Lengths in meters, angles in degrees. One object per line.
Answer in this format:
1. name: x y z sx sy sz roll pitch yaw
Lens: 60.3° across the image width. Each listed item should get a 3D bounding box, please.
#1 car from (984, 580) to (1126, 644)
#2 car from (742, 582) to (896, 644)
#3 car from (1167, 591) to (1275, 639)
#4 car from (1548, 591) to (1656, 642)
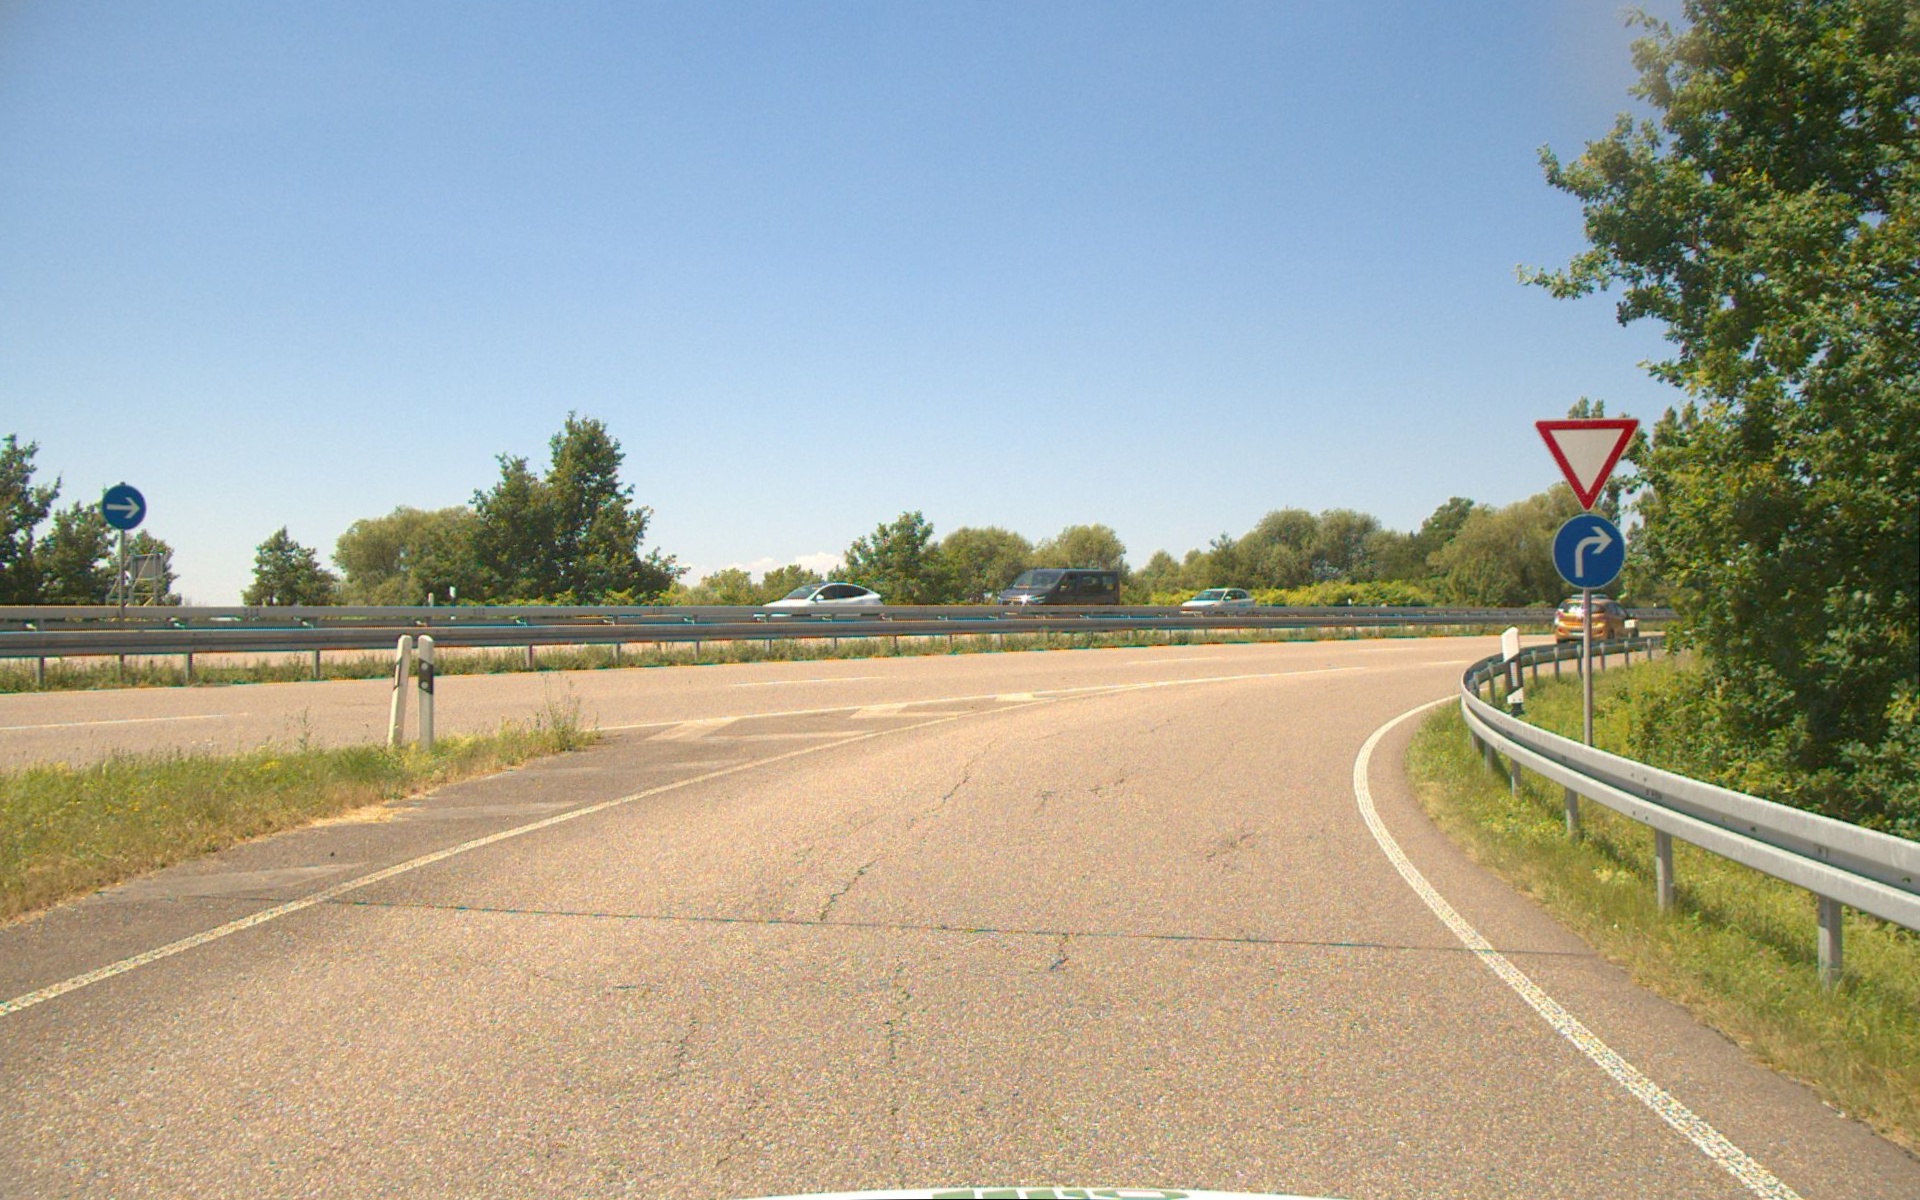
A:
1. car: 3.085 0.403 52.877 2.168 1.926 4.891 0 -1 37
2. car: -4.555 0.447 54.077 4.872 1.926 1.911 2 -1 -43
3. car: 11.152 0.674 70.442 2.173 1.926 4.880 0 -1 43
4. car: 20.309 0.503 52.247 1.816 1.489 3.973 2 1 43
